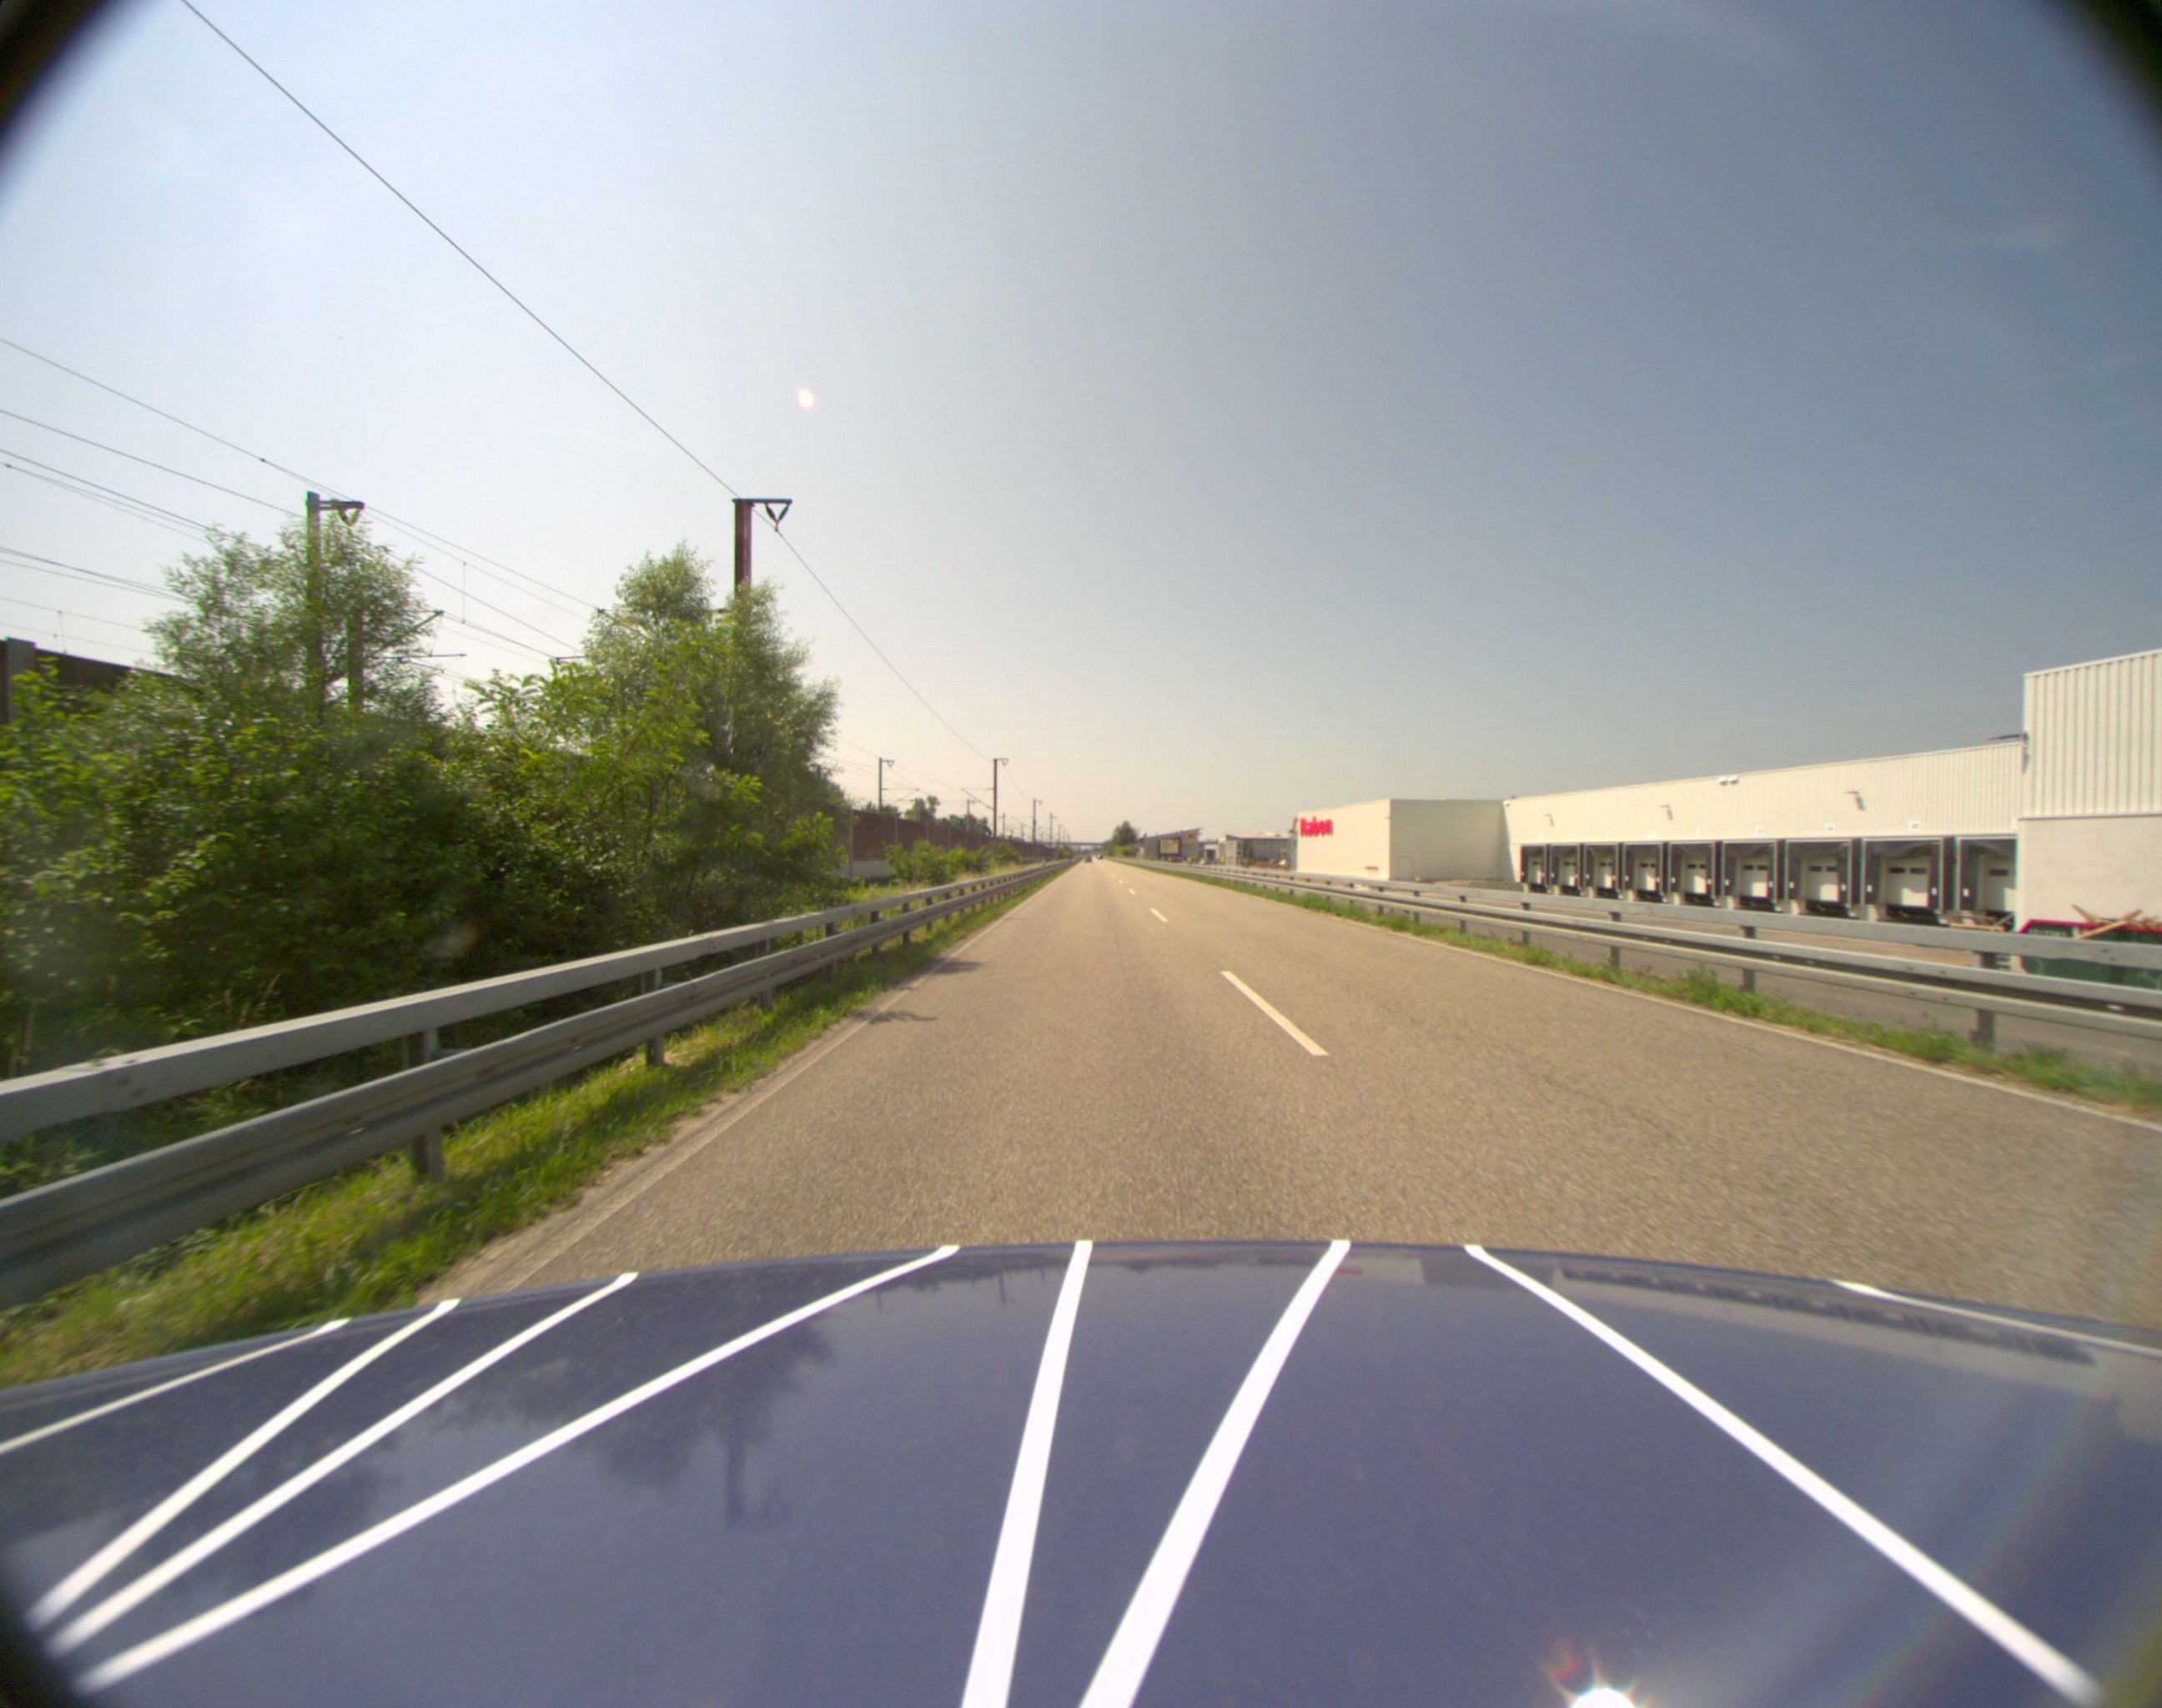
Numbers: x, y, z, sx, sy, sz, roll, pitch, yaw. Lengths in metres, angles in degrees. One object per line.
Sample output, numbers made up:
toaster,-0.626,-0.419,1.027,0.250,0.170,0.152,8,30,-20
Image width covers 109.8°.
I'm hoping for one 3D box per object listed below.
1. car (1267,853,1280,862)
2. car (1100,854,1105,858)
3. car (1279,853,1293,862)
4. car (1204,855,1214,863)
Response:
car,43.916,0.842,173.395,1.999,2.002,3.999,0,0,0
car,7.186,0.742,258.342,1.544,1.426,3.654,-1,0,0
car,46.819,0.794,173.451,1.999,2.002,3.999,0,0,0
car,29.233,1.073,173.173,1.555,1.664,3.311,1,0,-4
